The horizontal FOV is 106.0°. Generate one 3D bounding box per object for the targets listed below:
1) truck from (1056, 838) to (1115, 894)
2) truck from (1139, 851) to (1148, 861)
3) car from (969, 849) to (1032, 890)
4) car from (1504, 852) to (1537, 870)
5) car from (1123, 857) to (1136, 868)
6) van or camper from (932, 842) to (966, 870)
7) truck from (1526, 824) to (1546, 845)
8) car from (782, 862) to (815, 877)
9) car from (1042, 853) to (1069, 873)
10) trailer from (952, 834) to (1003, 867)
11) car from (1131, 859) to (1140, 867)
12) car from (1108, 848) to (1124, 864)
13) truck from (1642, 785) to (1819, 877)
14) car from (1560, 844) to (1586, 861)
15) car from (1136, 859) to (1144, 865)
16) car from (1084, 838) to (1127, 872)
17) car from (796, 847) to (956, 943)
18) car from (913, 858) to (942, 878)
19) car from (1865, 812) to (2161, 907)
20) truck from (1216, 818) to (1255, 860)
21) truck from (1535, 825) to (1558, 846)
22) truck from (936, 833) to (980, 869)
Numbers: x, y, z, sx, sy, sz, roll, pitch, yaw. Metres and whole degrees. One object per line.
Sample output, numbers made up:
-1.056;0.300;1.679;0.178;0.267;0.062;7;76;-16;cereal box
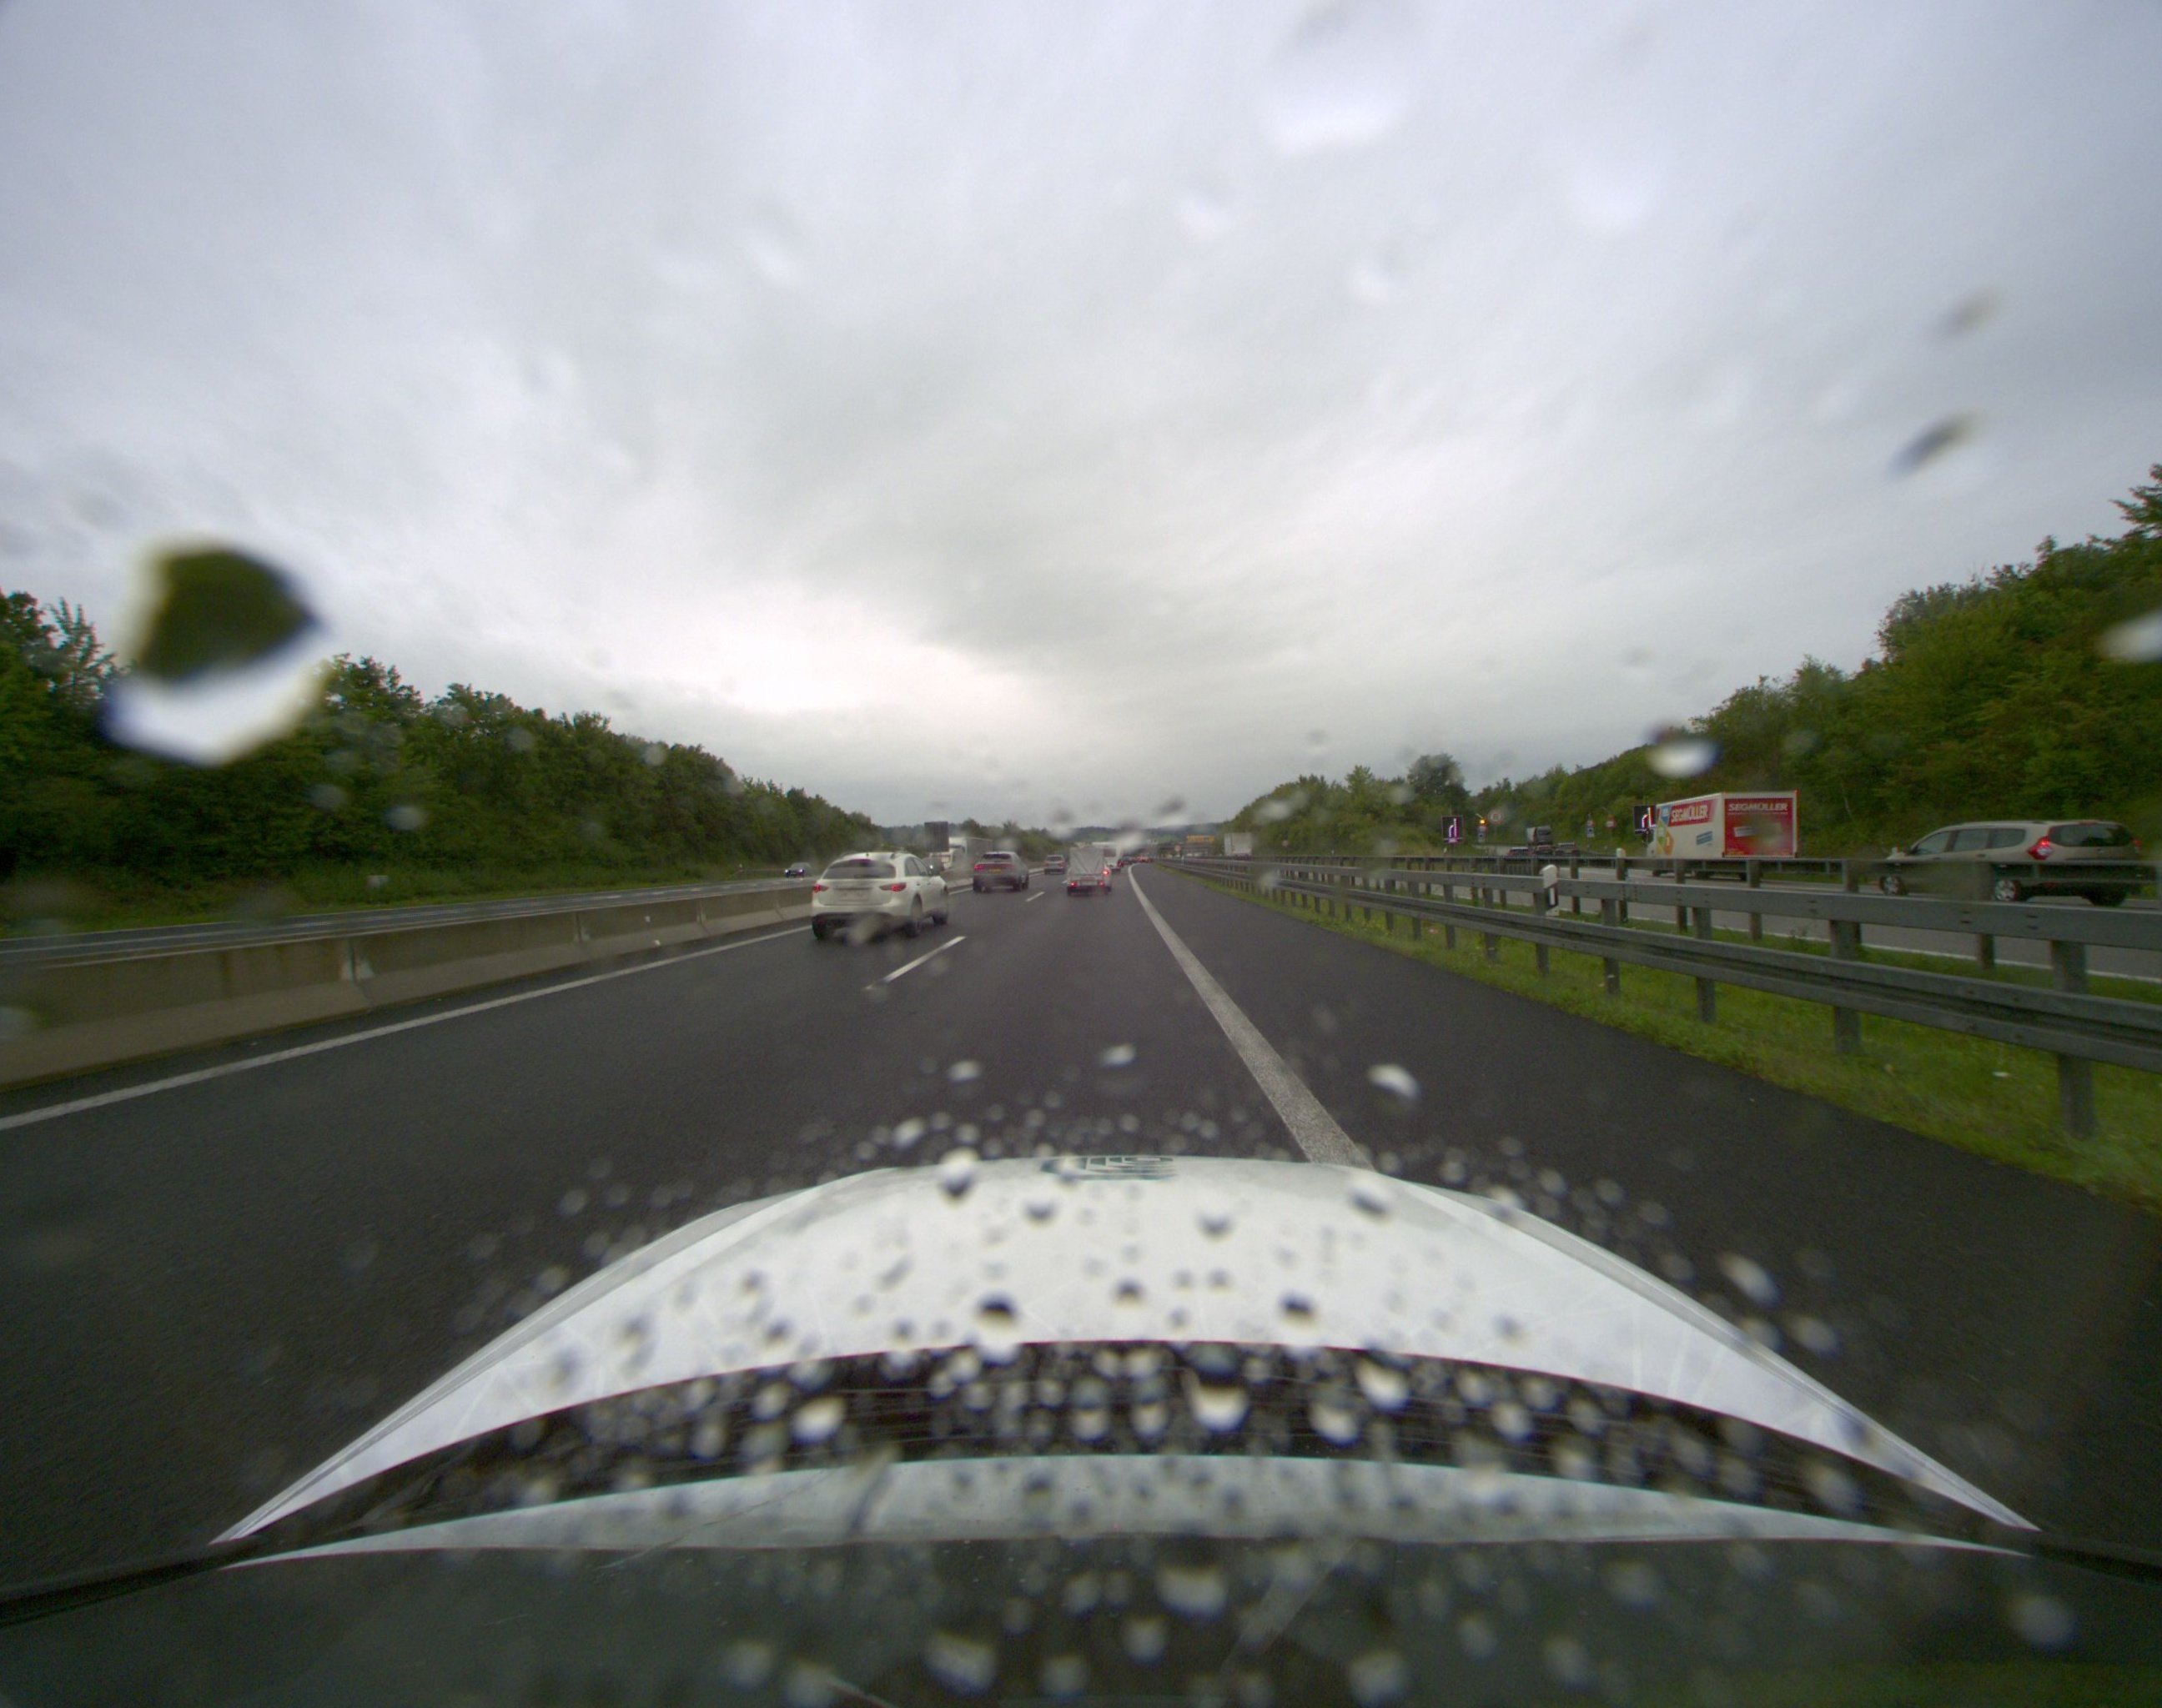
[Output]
0.318;0.431;33.143;2.010;1.985;7.219;-1;0;3;truck
19.902;0.779;259.018;2.266;3.082;7.259;0;0;7;truck
-3.488;0.647;36.009;2.166;1.631;4.502;-1;0;2;car
36.363;0.570;67.492;1.844;1.447;4.179;-2;0;20;car
7.899;1.321;132.466;1.984;1.750;4.006;0;0;5;car
-12.309;0.211;76.105;1.787;2.470;5.555;-1;0;5;van or camper
67.397;-2.879;120.560;2.223;2.878;8.225;-1;0;31;truck
-27.152;1.453;78.461;1.682;1.294;3.925;-1;0;2;car
-2.146;0.759;69.140;1.892;1.613;4.020;-1;0;3;car
-13.580;-0.451;108.486;3.242;4.083;13.872;-1;0;7;trailer
12.727;2.038;188.663;1.984;1.750;4.006;0;0;5;car
4.515;0.295;105.383;1.986;2.036;4.153;0;0;2;car
27.431;-0.844;35.038;2.876;3.395;9.016;-1;0;18;truck
44.448;-0.181;73.673;1.842;1.447;4.183;-2;0;29;car
16.876;2.222;231.638;1.983;1.750;4.007;0;0;6;car
2.126;0.072;66.934;3.001;2.616;6.085;-1;0;6;car
-3.979;0.739;16.669;1.969;1.639;4.502;-1;0;2;car
-13.148;1.164;69.906;1.522;1.620;4.390;-1;0;2;car
18.932;0.111;16.795;1.847;1.659;4.487;-1;0;12;car
20.188;-1.875;107.141;4.074;5.103;10.479;-1;0;5;truck
63.498;-2.443;110.997;2.416;2.704;5.604;-2;0;32;truck
-14.769;-0.346;98.581;3.243;4.083;7.455;-1;0;7;truck
